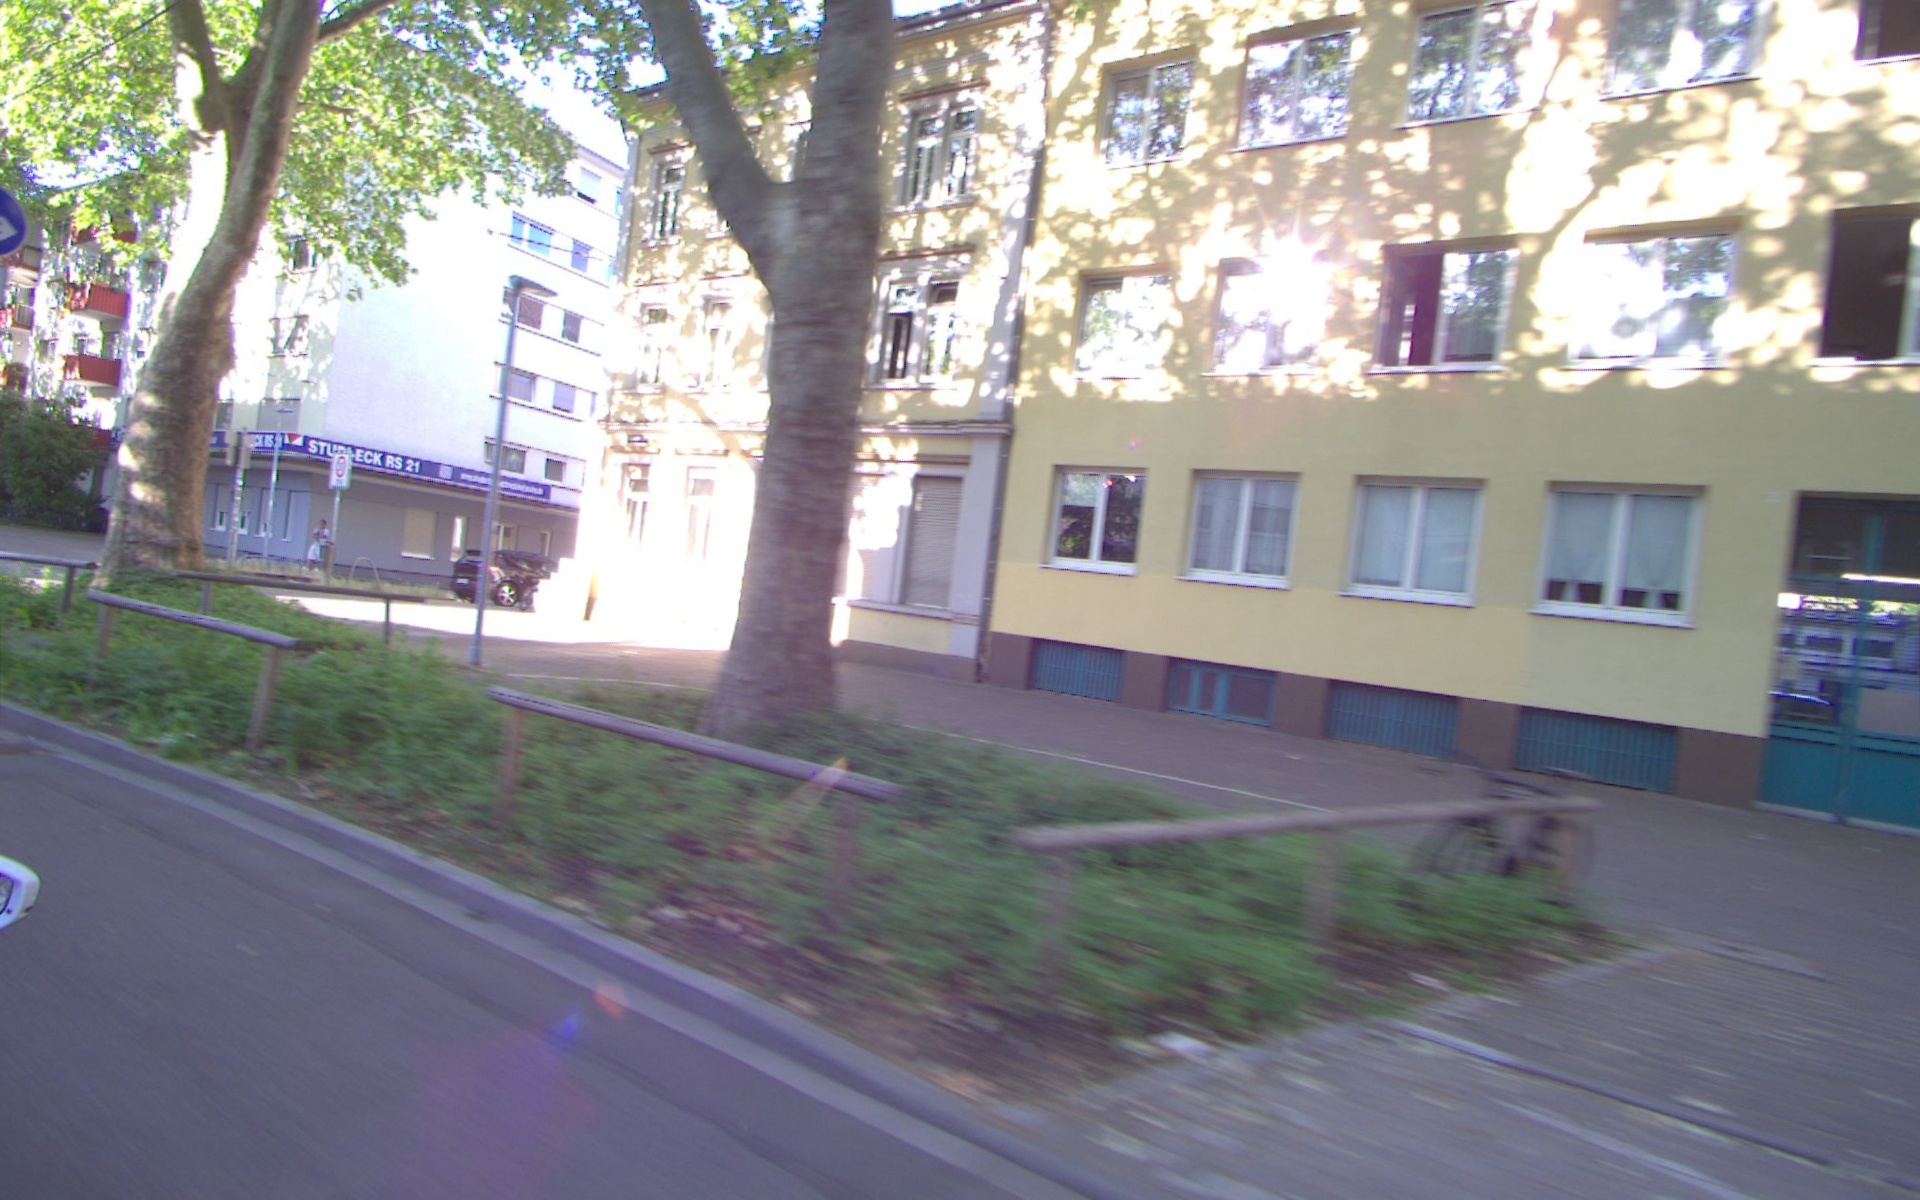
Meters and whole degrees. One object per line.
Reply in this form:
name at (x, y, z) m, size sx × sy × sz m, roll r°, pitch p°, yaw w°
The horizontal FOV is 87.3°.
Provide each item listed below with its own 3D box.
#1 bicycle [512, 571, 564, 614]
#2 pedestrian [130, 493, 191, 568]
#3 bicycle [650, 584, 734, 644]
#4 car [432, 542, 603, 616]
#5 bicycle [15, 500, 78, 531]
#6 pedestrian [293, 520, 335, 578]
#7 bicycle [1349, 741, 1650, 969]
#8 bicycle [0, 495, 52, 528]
bicycle at (-11.142, -0.177, 26.626) m, size 0.559 × 1.019 × 1.835 m, roll 7°, pitch -2°, yaw -3°
pedestrian at (-21.895, -1.904, 27.557) m, size 1.168 × 1.890 × 0.767 m, roll 7°, pitch 1°, yaw 29°
bicycle at (-5.963, 0.308, 22.342) m, size 1.891 × 1.118 × 0.583 m, roll 7°, pitch 2°, yaw 32°
car at (-12.833, -0.559, 29.414) m, size 1.965 × 1.612 × 4.141 m, roll 7°, pitch -1°, yaw 28°
bicycle at (-38.239, -3.547, 42.139) m, size 0.607 × 1.055 × 1.793 m, roll 7°, pitch 1°, yaw 28°
pedestrian at (-19.887, -1.565, 30.977) m, size 0.655 × 1.664 × 0.747 m, roll 7°, pitch 0°, yaw 33°
bicycle at (3.063, 1.345, 5.630) m, size 1.948 × 1.019 × 0.506 m, roll 4°, pitch 2°, yaw -32°
bicycle at (-38.770, -3.657, 41.397) m, size 0.562 × 1.171 × 1.948 m, roll 7°, pitch 1°, yaw 25°
